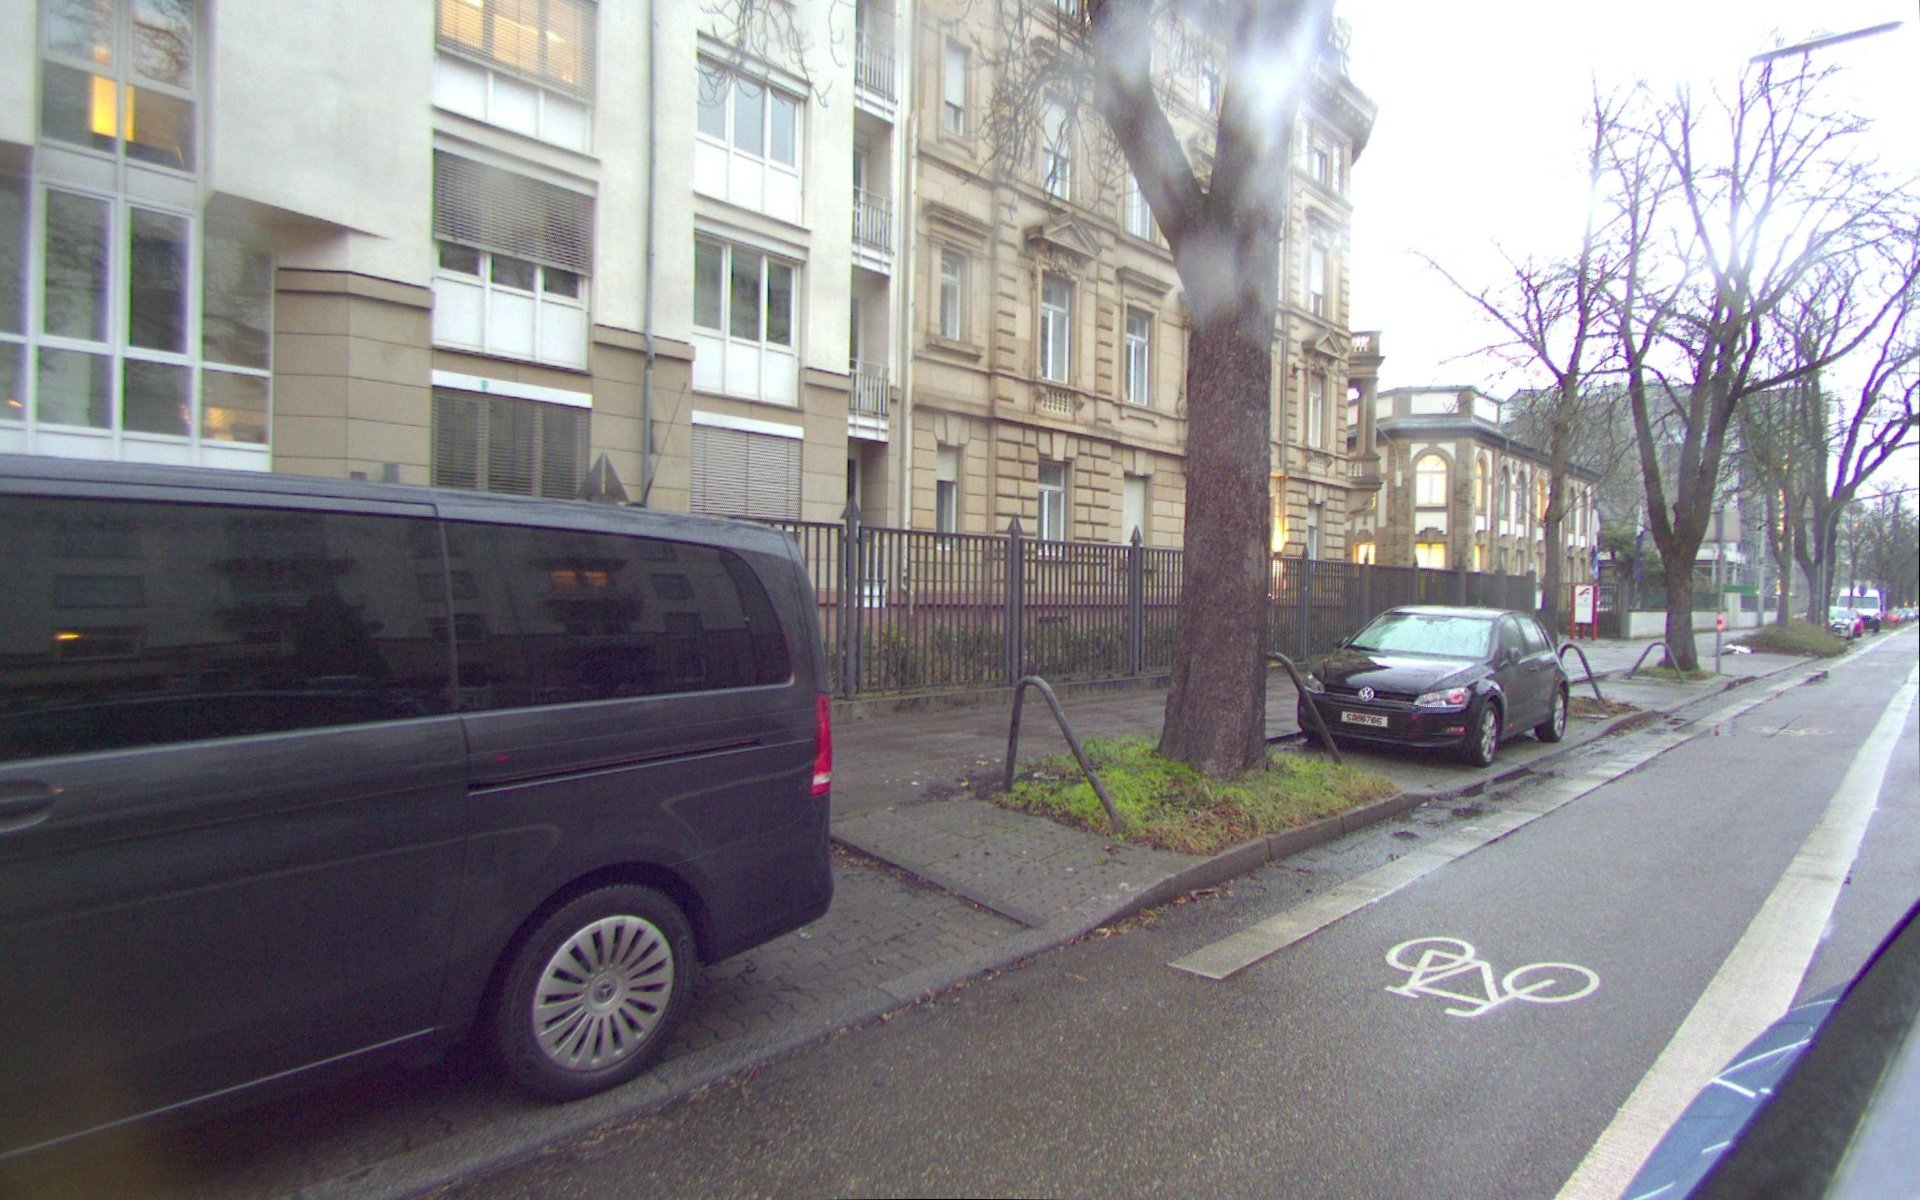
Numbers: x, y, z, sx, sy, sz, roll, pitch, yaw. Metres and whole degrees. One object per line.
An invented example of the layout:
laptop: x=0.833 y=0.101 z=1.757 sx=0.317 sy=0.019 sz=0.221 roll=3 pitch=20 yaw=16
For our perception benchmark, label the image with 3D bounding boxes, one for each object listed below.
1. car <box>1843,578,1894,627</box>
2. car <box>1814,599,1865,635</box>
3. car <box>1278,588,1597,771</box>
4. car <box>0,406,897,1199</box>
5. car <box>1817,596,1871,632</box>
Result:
car: x=52.155 y=0.095 z=58.113 sx=2.086 sy=2.670 sz=5.367 roll=0 pitch=1 yaw=42
car: x=38.317 y=0.716 z=44.077 sx=1.623 sy=1.425 sz=3.939 roll=0 pitch=1 yaw=42
car: x=5.131 y=0.680 z=10.596 sx=1.758 sy=1.463 sz=4.091 roll=4 pitch=2 yaw=44
car: x=-2.686 y=0.523 z=2.757 sx=4.882 sy=1.899 sz=2.032 roll=0 pitch=2 yaw=-45
car: x=44.910 y=0.681 z=51.398 sx=1.992 sy=1.703 sz=3.939 roll=0 pitch=1 yaw=42
